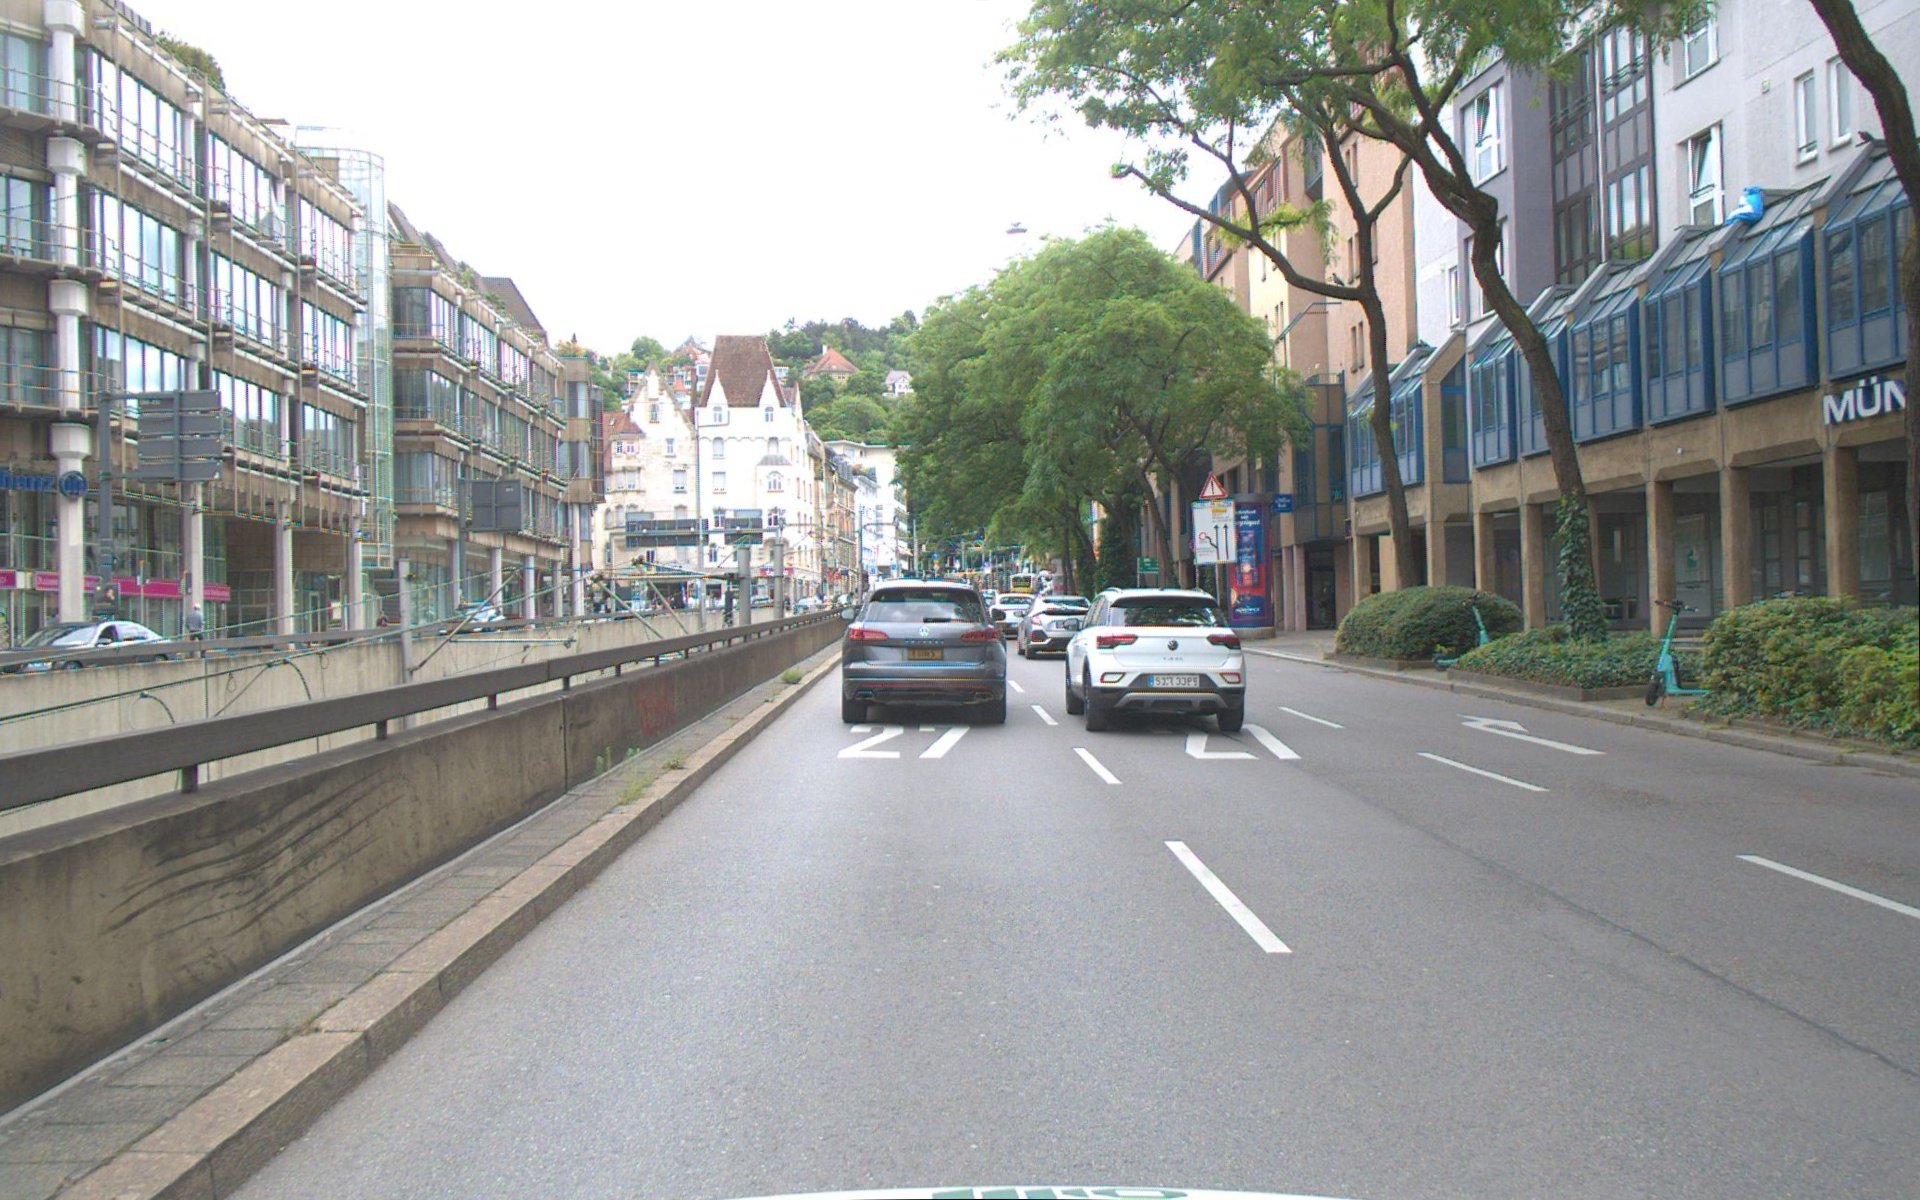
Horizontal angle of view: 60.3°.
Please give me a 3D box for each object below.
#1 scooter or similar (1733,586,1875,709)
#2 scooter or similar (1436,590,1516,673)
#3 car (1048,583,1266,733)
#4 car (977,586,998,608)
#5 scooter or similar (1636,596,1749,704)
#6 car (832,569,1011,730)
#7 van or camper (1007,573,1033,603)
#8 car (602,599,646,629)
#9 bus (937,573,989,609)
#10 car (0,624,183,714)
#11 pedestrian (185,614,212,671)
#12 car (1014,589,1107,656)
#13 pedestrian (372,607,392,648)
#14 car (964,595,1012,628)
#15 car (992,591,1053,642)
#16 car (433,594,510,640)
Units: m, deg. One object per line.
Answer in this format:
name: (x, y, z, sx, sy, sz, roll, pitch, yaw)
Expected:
scooter or similar: (9.478, 0.524, 18.595, 1.172, 1.290, 0.724, -3, 0, -2)
scooter or similar: (8.583, 0.516, 27.544, 1.137, 1.307, 0.426, -4, 0, 8)
car: (2.184, 0.601, 19.342, 1.762, 1.572, 3.931, 0, 0, -5)
car: (2.454, -0.252, 149.452, 1.794, 1.907, 4.870, -3, 0, 0)
scooter or similar: (8.552, 0.579, 19.324, 1.084, 1.202, 0.428, -3, 0, 9)
car: (-0.553, 0.516, 20.371, 1.931, 1.725, 4.221, -1, 1, -4)
van or camper: (6.665, -1.353, 182.773, 2.572, 3.234, 5.806, -2, 0, 3)
car: (-21.213, 0.855, 104.670, 1.953, 1.798, 4.279, -2, 0, -1)
bus: (0.485, -1.021, 180.644, 3.768, 3.593, 17.258, -2, 0, 6)
car: (-18.381, 1.377, 34.460, 1.952, 1.613, 4.888, -2, 0, 1)
pedestrian: (-24.673, 1.368, 53.573, 0.521, 1.824, 0.694, -1, 0, -1)
car: (2.294, 0.554, 38.677, 1.796, 1.457, 4.146, -1, -1, -1)
pedestrian: (-27.060, 1.284, 77.462, 0.760, 1.856, 0.711, -2, 0, -11)
car: (1.269, 0.523, 76.517, 1.796, 1.387, 3.763, -3, 0, -5)
car: (2.025, 0.522, 54.479, 1.795, 1.544, 3.766, -3, 0, -1)
car: (-20.223, 0.673, 68.650, 1.953, 1.798, 4.279, -2, 0, -1)
